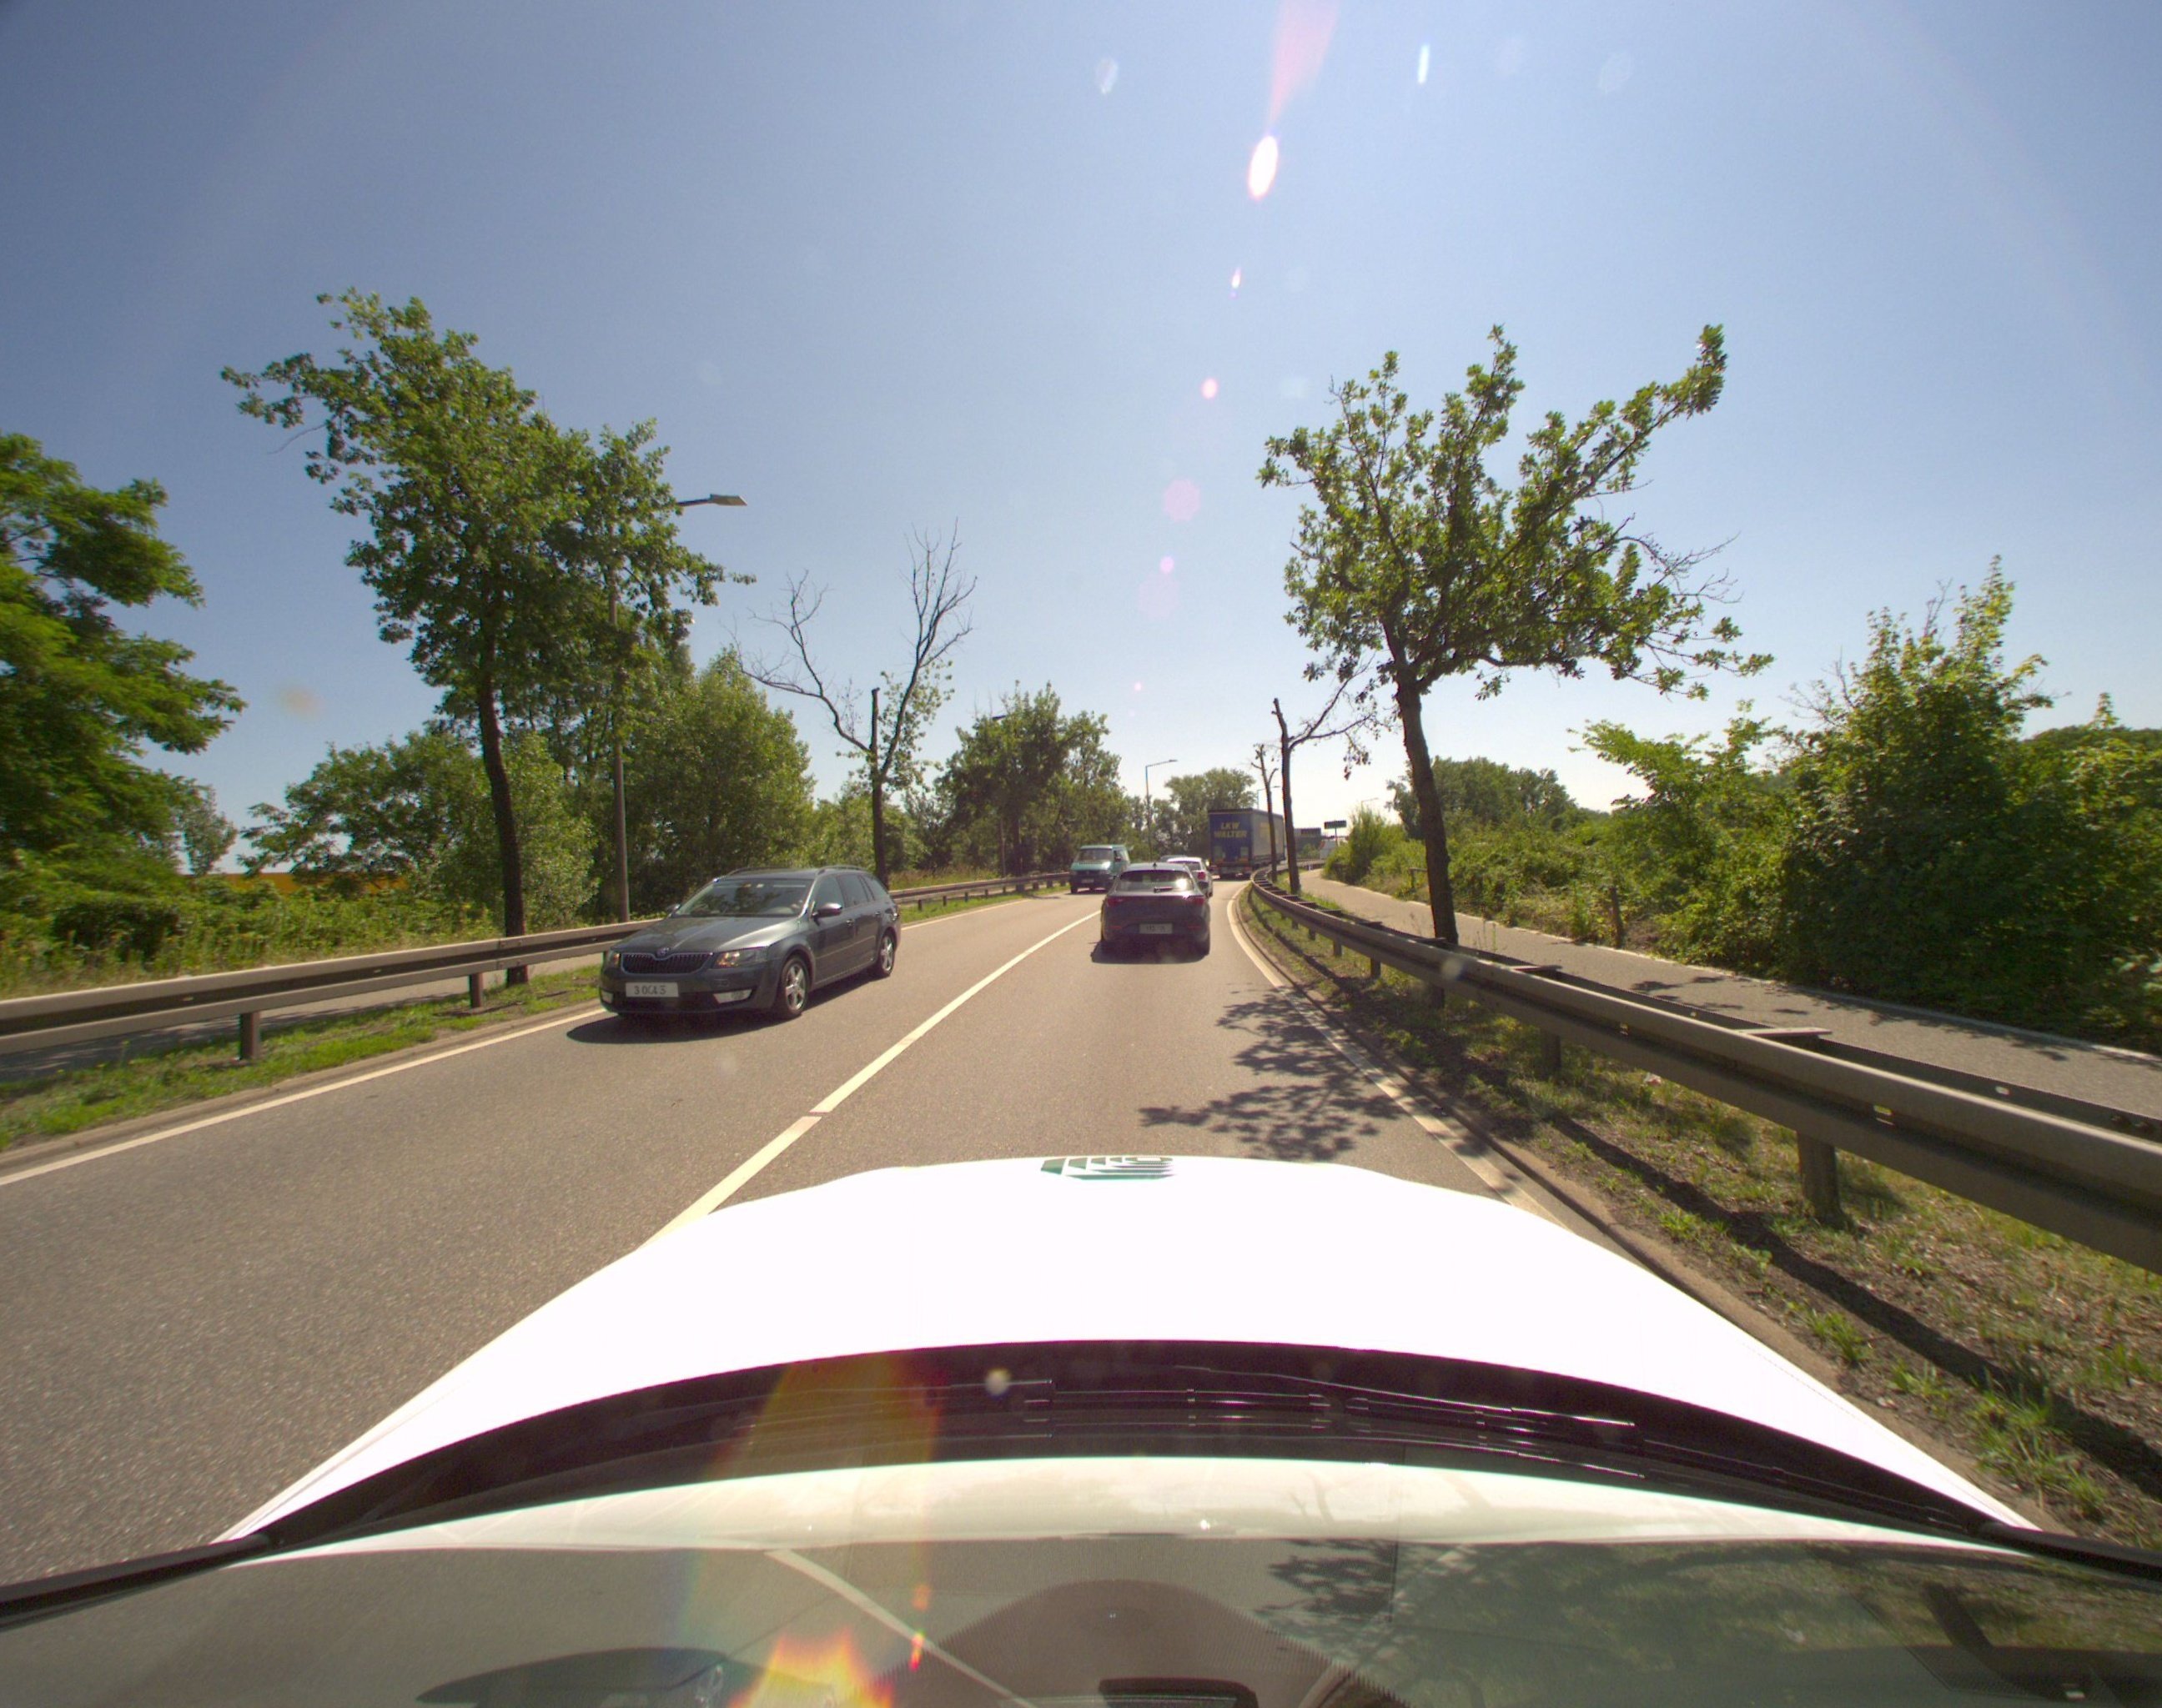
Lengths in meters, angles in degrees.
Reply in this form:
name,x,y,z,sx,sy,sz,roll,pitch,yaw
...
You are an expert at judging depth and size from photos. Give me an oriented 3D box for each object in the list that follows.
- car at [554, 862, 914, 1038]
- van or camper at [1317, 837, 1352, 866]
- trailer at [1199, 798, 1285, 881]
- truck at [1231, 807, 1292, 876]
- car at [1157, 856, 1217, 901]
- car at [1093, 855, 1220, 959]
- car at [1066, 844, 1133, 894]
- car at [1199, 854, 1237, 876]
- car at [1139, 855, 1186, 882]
name,x,y,z,sx,sy,sz,roll,pitch,yaw
car,-3.436,0.848,9.191,1.735,1.447,4.524,-1,0,6
van or camper,24.688,-0.268,79.135,2.182,2.711,5.961,-2,0,27
trailer,10.546,-0.817,51.785,3.107,4.614,13.016,0,0,21
truck,12.951,-0.800,57.984,3.143,4.585,7.434,-1,-1,20
car,3.718,0.797,28.190,1.581,1.461,3.559,0,0,15
car,1.223,0.791,13.934,1.838,1.499,3.761,-1,0,3
car,0.871,0.586,34.625,1.817,1.938,4.793,-1,0,13
car,9.786,0.769,58.087,1.686,1.447,4.484,-1,0,23
car,4.868,0.825,47.965,1.831,1.467,4.762,-1,0,17
